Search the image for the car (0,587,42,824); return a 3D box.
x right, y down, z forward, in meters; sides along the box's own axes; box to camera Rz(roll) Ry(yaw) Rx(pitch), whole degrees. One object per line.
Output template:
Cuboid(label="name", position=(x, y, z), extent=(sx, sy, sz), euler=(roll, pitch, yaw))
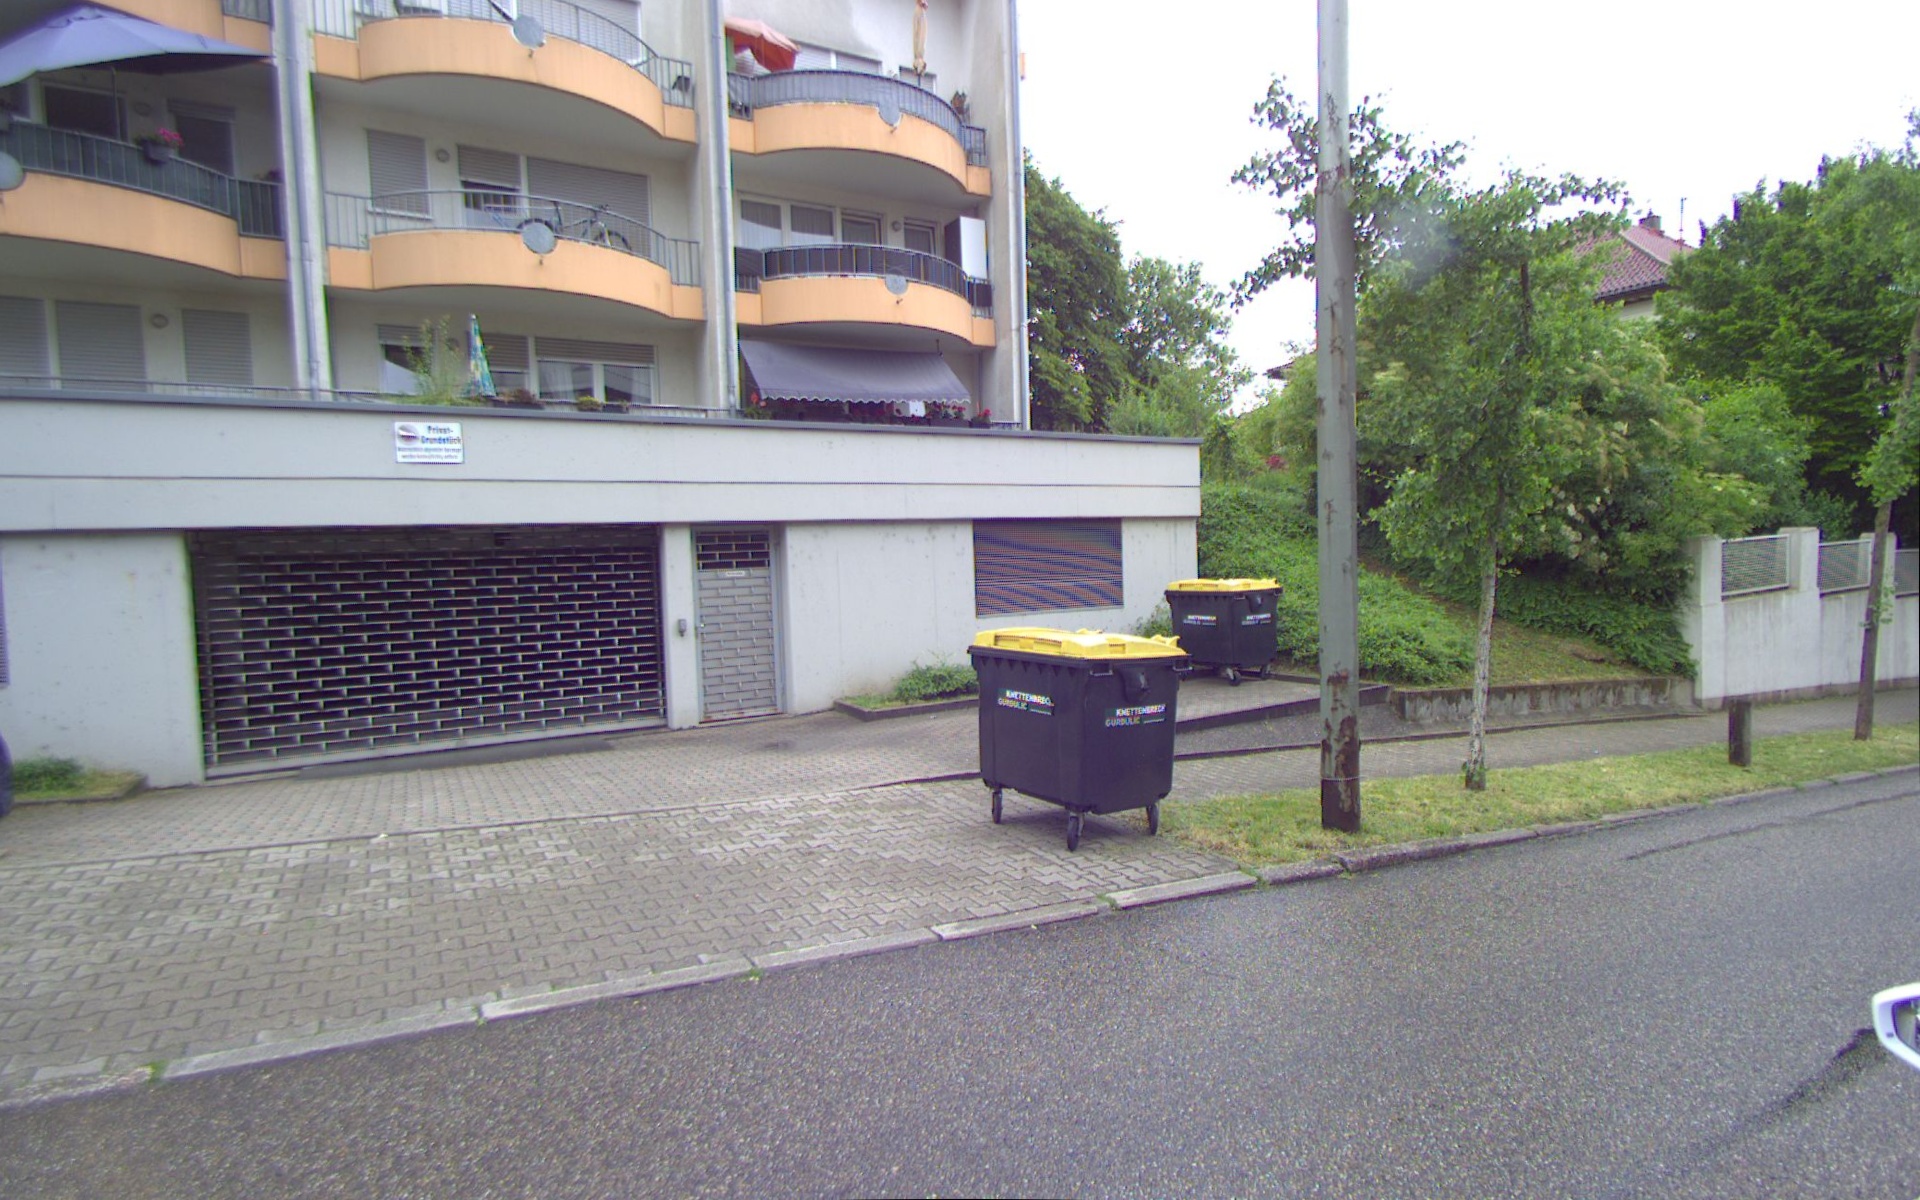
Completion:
Cuboid(label="car", position=(-8.131, 0.675, 5.644), extent=(4.050, 1.582, 1.770), euler=(1, -4, -31))

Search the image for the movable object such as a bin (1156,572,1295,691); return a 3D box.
Cuboid(label="movable object such as a bin", position=(3.535, 0.375, 13.395), extent=(1.215, 1.383, 1.289), euler=(-7, 6, -36))

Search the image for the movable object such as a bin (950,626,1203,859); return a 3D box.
Cuboid(label="movable object such as a bin", position=(0.775, 0.876, 6.873), extent=(1.145, 1.324, 1.288), euler=(0, 2, -38))
